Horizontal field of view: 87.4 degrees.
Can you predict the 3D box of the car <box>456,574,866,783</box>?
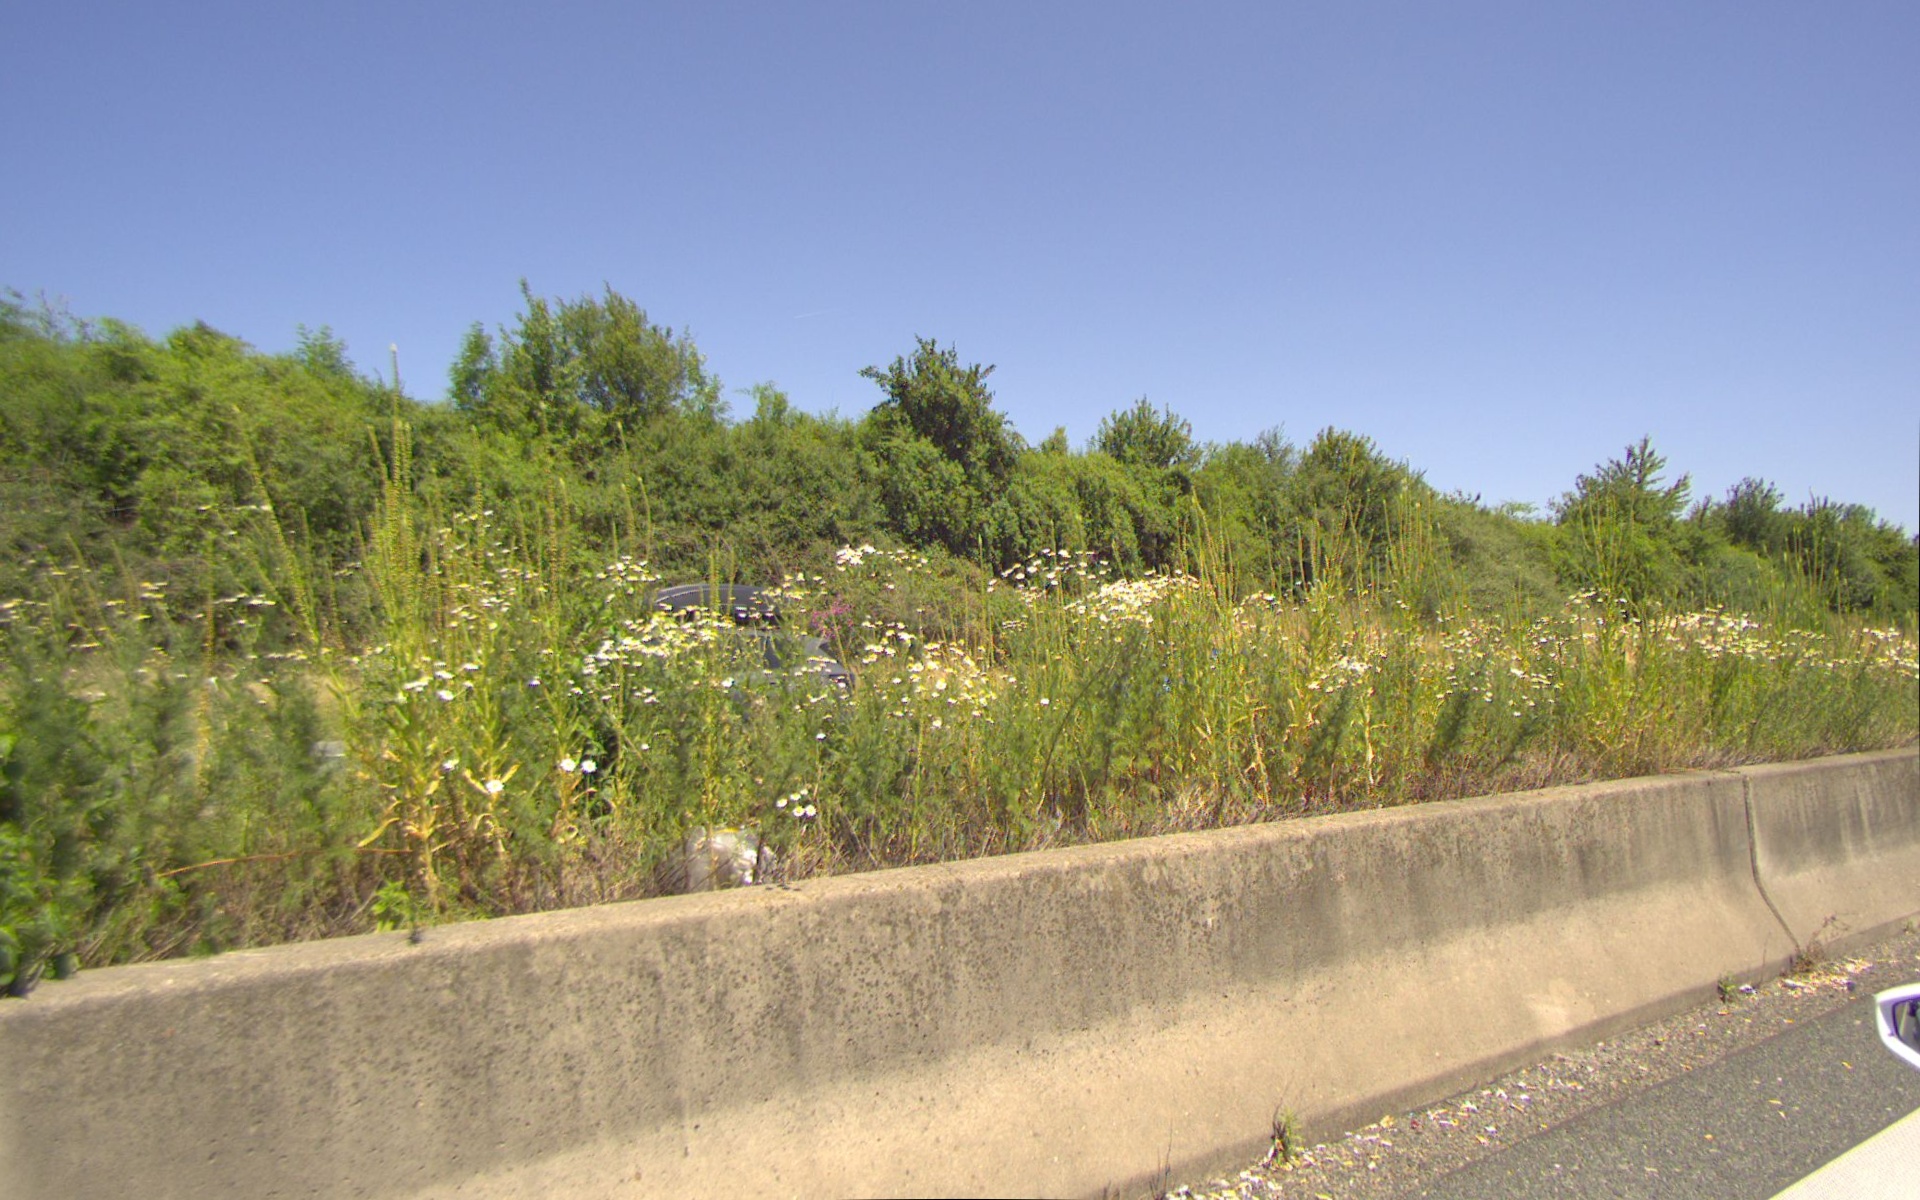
[{"bbox_3d":[-3.159,0.774,10.820,3.954,1.888,1.695,2,-2,-31],"label":"car"}]
